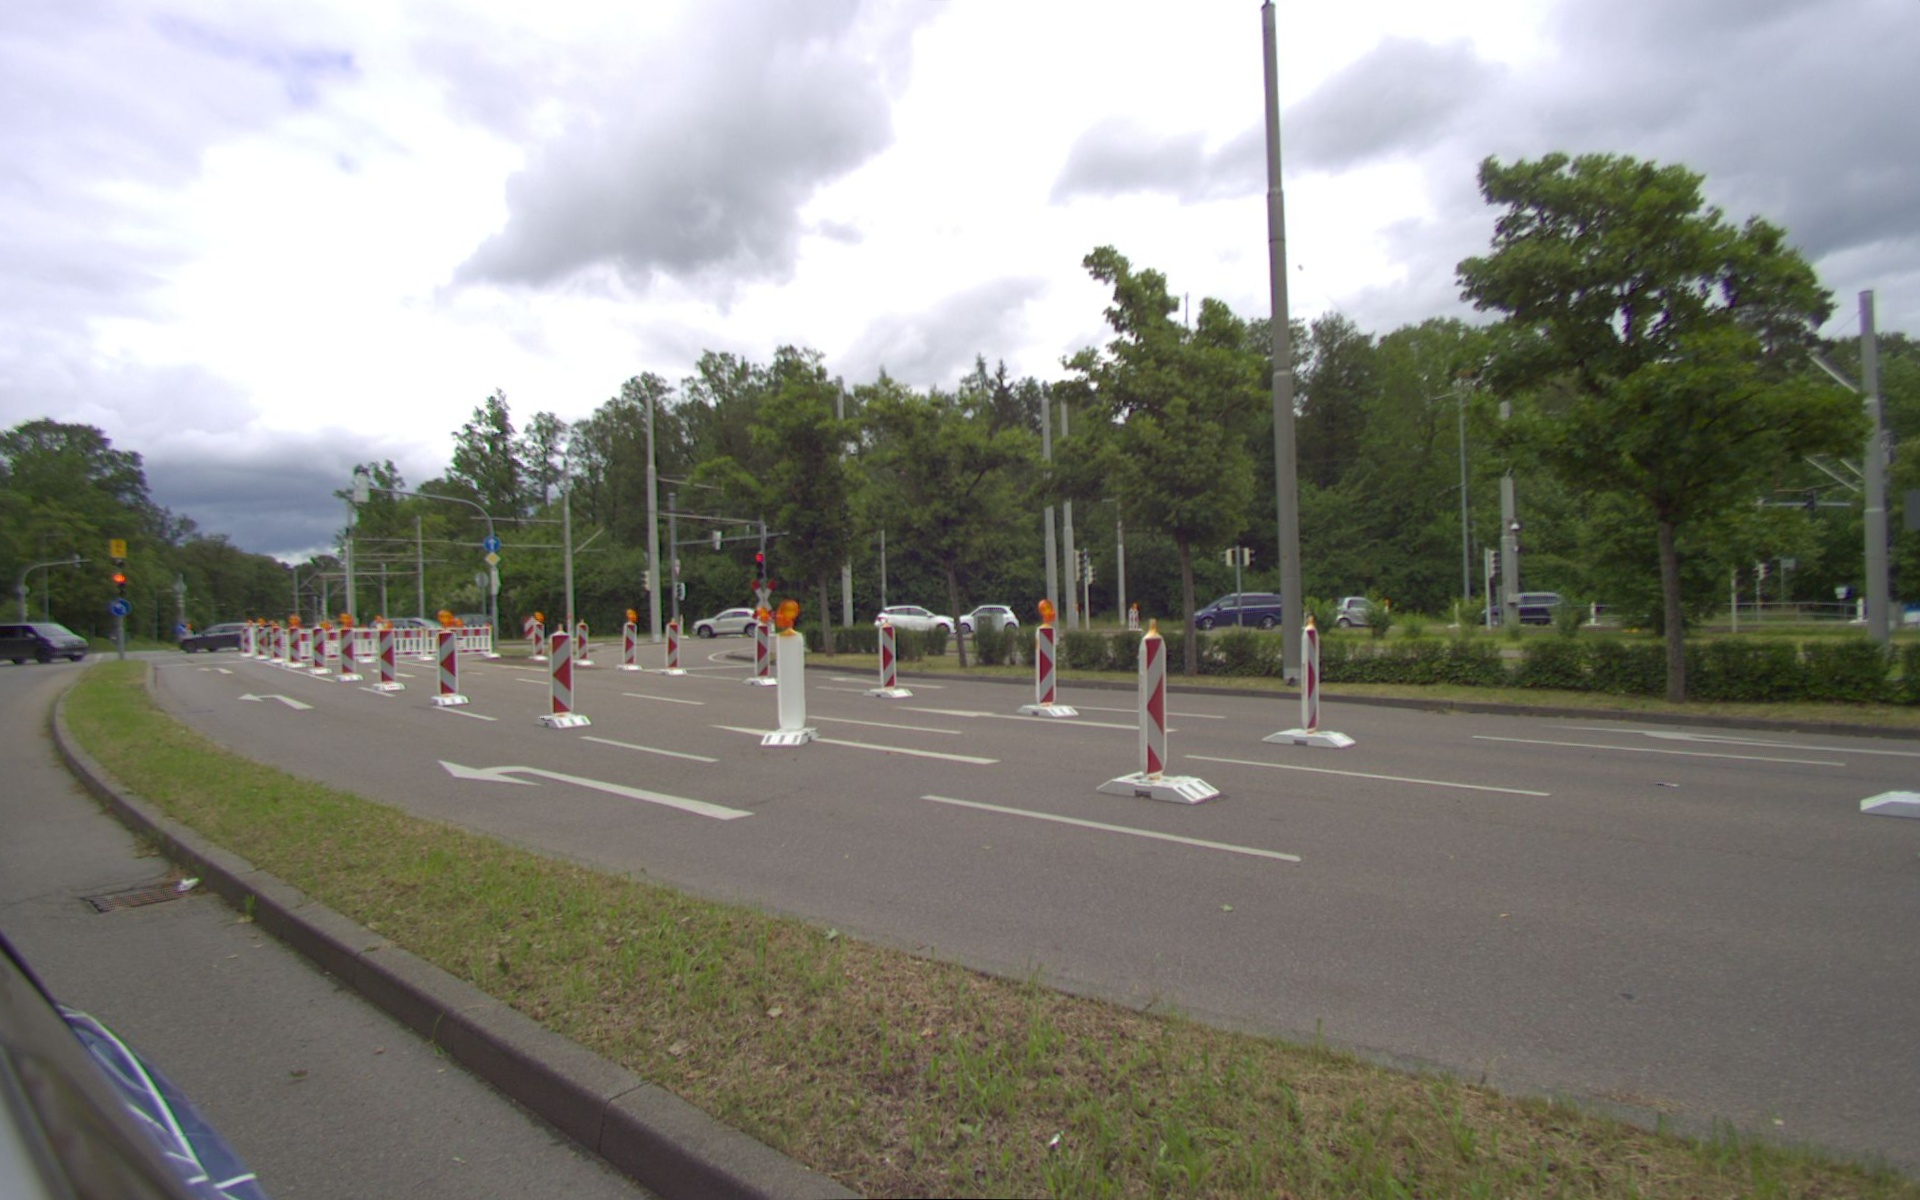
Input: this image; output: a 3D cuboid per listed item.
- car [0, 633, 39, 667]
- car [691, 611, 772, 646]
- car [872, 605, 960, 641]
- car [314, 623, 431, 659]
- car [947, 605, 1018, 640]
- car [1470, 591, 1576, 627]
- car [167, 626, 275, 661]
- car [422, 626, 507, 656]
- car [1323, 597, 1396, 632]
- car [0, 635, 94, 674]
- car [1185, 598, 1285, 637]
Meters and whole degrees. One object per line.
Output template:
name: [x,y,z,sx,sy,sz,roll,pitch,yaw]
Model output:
car: [-53.639,2.800,55.545,4.414,1.741,1.998,-2,0,3]
car: [-12.396,1.528,55.104,3.991,1.664,1.859,-2,0,0]
car: [-2.048,1.045,47.013,3.942,1.499,1.770,-2,0,-2]
car: [-27.069,1.885,46.712,4.329,1.447,1.796,-2,0,0]
car: [1.195,1.197,54.806,3.740,1.735,1.859,-2,0,1]
car: [29.027,0.447,52.267,4.260,1.696,1.996,-2,0,7]
car: [-40.175,2.341,55.086,4.383,1.607,1.883,-2,0,-5]
car: [-27.035,2.237,55.245,3.790,1.347,1.663,-2,4,3]
car: [18.378,0.655,46.653,2.706,1.486,1.499,-2,0,1]
car: [-44.328,2.609,48.010,4.842,1.599,1.957,-2,0,1]
car: [14.661,0.918,54.179,4.774,1.829,1.997,-2,0,6]
